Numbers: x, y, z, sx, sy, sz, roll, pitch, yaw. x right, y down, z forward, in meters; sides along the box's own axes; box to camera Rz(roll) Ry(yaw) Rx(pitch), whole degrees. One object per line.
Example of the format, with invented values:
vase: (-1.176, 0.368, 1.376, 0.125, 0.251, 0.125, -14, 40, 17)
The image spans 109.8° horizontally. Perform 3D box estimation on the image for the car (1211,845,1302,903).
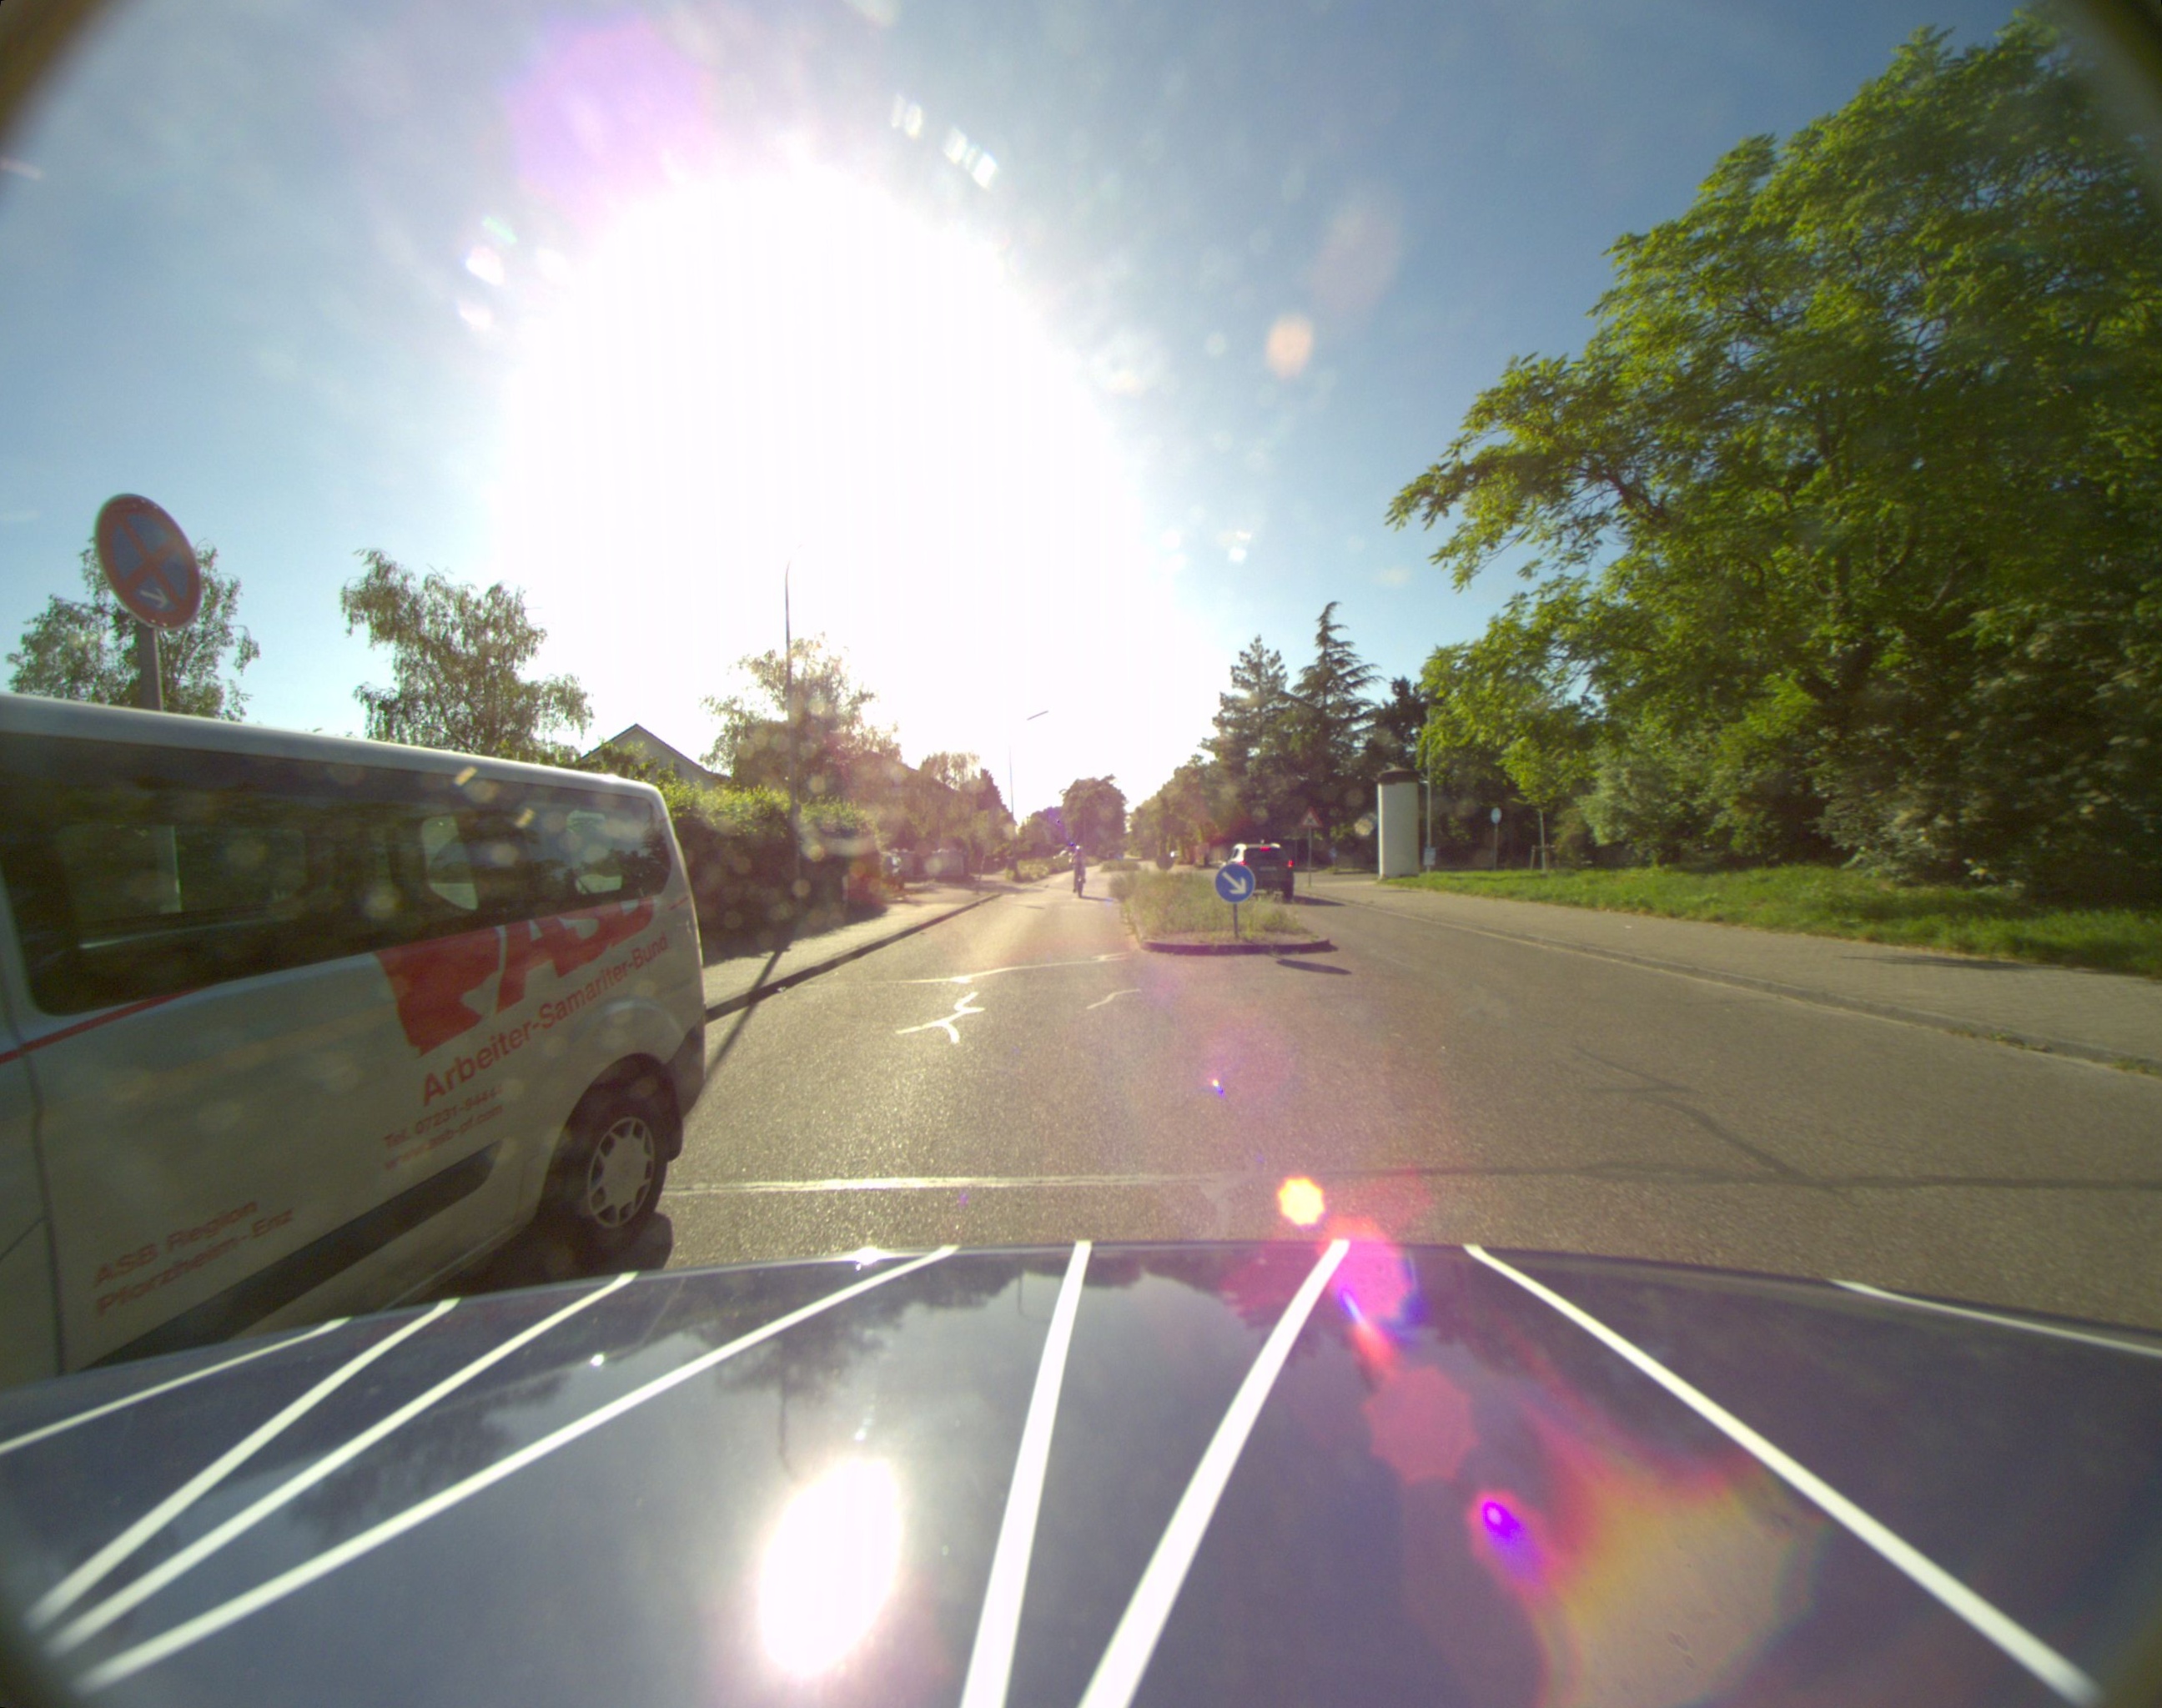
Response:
car: (5.580, 0.567, 24.730, 1.918, 1.696, 4.184, 0, 1, -1)

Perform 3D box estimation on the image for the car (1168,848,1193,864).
car: (11.095, 0.161, 84.760, 1.999, 1.649, 3.998, -1, 1, -3)

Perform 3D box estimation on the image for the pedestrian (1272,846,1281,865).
pedestrian: (15.682, 0.113, 60.830, 0.539, 1.512, 0.395, -2, 2, -22)

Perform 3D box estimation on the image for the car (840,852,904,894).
car: (-7.867, 0.679, 28.884, 1.703, 1.458, 3.532, 0, 0, -4)

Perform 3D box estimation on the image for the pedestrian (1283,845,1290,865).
pedestrian: (16.305, 0.091, 60.317, 0.396, 1.552, 0.538, 0, 2, 5)

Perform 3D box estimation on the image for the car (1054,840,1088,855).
car: (-1.212, -0.791, 92.584, 3.656, 1.707, 1.744, -2, 2, -34)

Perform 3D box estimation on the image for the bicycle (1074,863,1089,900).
bicycle: (0.009, 0.902, 25.413, 0.458, 1.138, 1.897, -1, 1, 0)

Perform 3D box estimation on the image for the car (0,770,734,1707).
car: (-2.915, 0.821, 1.470, 1.998, 1.901, 4.953, -1, 1, 2)

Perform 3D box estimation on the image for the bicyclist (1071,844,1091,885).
bicyclist: (-0.013, 0.354, 25.782, 0.638, 1.340, 0.838, -1, 2, 0)
